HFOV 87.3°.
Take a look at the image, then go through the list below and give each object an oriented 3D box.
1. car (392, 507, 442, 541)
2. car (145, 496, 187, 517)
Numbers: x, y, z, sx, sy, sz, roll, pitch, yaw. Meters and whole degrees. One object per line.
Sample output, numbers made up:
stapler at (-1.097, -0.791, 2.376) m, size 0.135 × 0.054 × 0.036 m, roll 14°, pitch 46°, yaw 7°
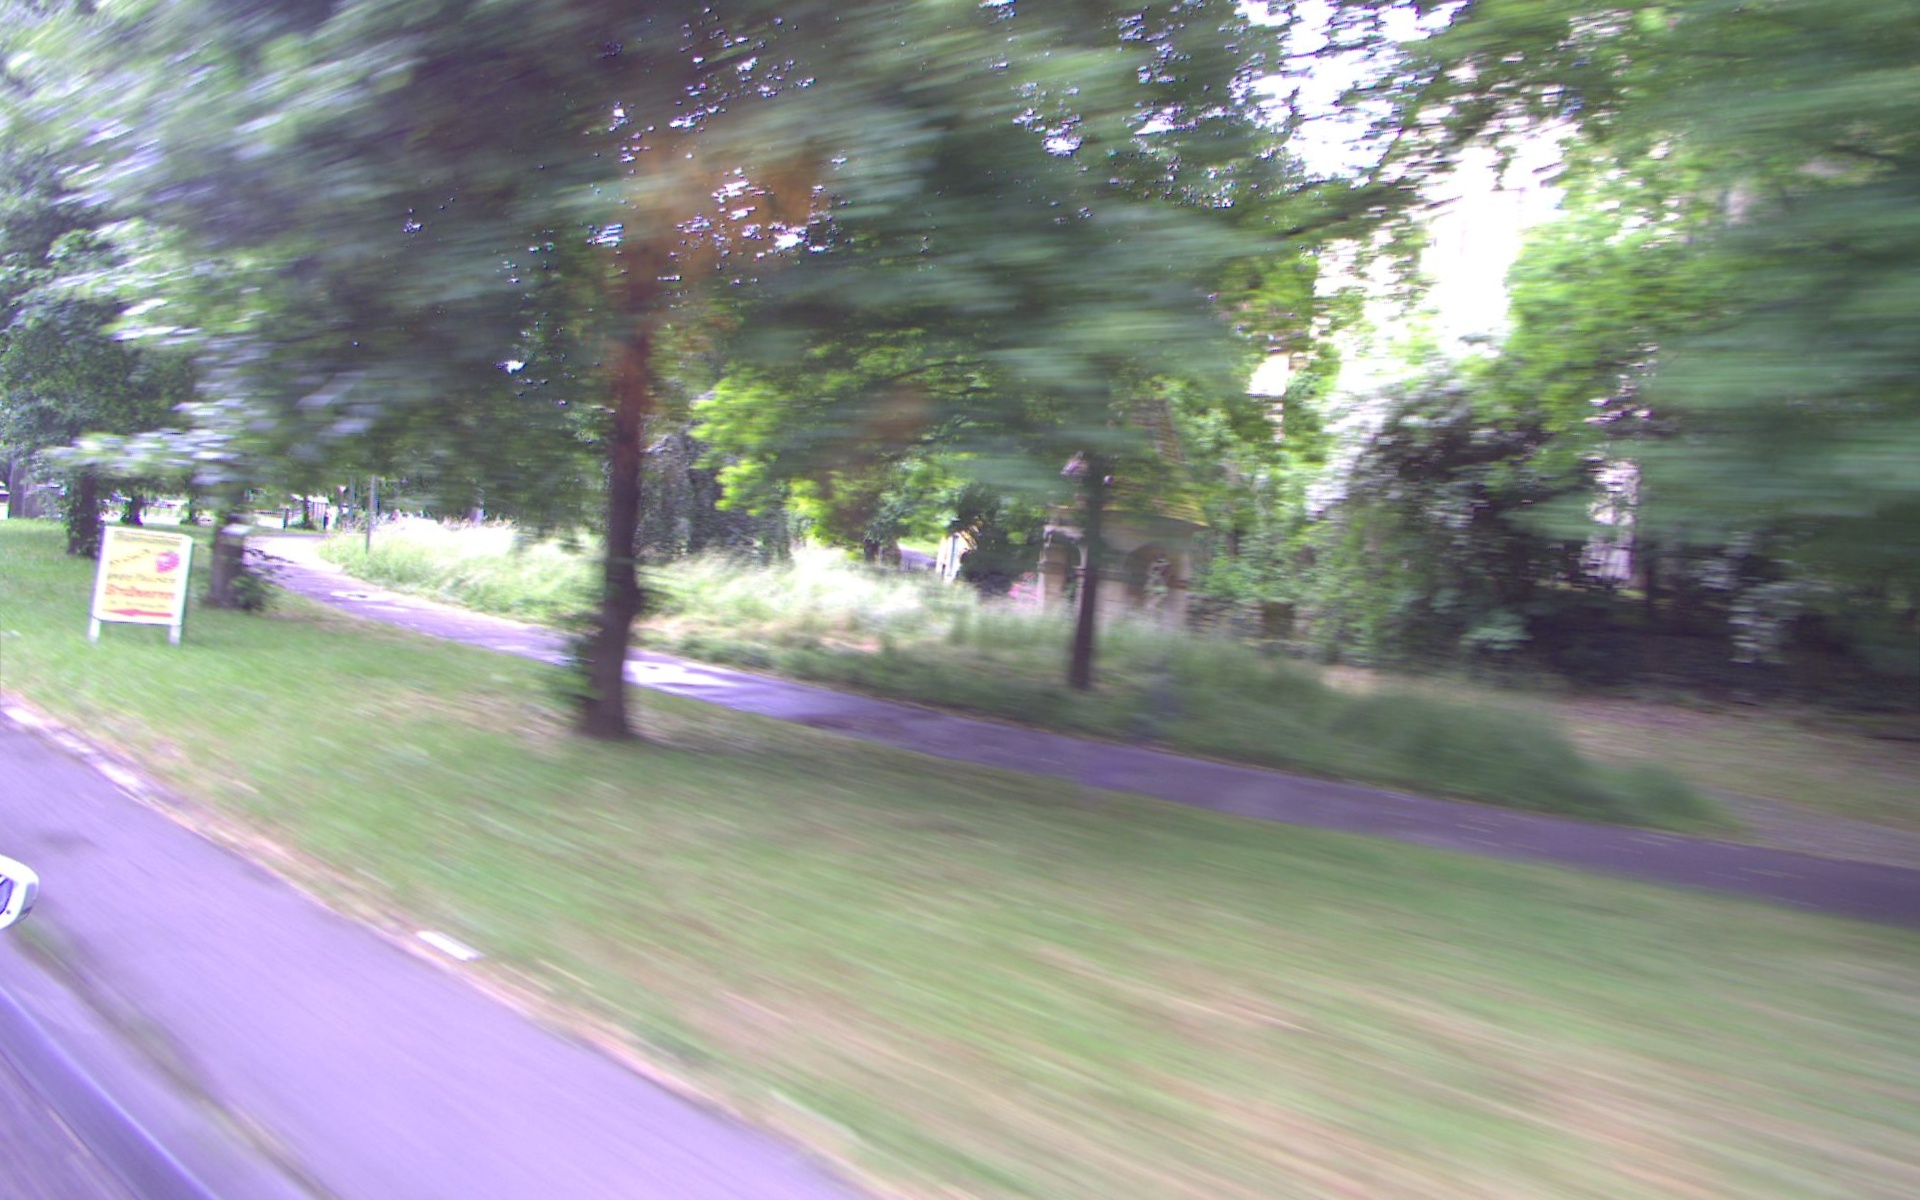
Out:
car at (-28.520, -4.033, 52.949) m, size 1.886 × 1.451 × 4.435 m, roll 3°, pitch 5°, yaw -24°
car at (-79.253, -9.338, 100.472) m, size 1.897 × 1.718 × 3.983 m, roll 4°, pitch 2°, yaw -17°
